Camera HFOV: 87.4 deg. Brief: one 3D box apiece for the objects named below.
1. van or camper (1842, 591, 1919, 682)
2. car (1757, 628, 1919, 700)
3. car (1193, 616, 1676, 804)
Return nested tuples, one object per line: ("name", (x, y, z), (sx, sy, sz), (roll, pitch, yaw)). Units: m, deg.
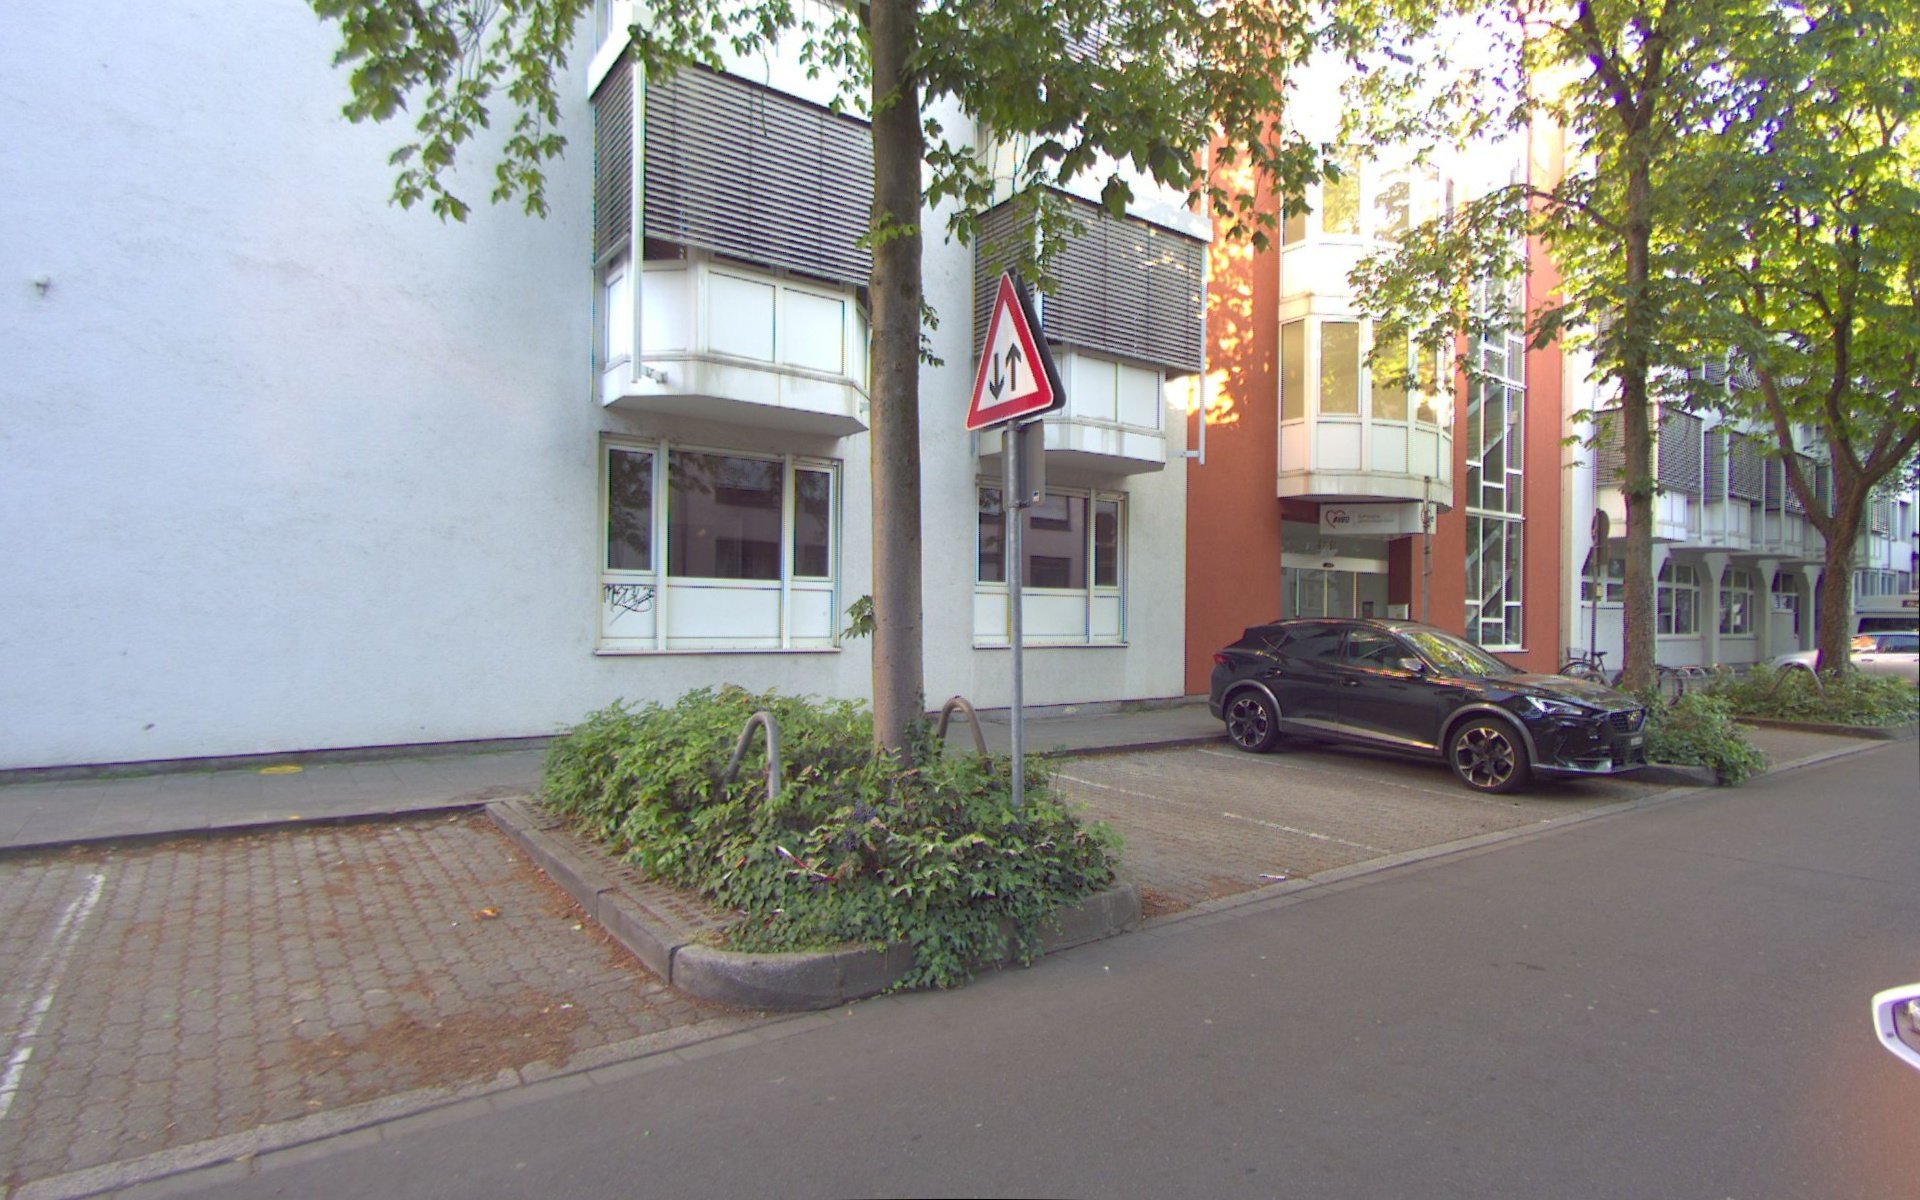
("van or camper", (27.903, 1.028, 28.039), (1.981, 2.511, 4.632), (1, -1, -36))
("car", (21.162, 1.436, 23.238), (1.767, 1.537, 3.942), (1, -1, -35))
("car", (4.717, 0.954, 10.612), (1.768, 1.537, 4.325), (1, -1, -35))
